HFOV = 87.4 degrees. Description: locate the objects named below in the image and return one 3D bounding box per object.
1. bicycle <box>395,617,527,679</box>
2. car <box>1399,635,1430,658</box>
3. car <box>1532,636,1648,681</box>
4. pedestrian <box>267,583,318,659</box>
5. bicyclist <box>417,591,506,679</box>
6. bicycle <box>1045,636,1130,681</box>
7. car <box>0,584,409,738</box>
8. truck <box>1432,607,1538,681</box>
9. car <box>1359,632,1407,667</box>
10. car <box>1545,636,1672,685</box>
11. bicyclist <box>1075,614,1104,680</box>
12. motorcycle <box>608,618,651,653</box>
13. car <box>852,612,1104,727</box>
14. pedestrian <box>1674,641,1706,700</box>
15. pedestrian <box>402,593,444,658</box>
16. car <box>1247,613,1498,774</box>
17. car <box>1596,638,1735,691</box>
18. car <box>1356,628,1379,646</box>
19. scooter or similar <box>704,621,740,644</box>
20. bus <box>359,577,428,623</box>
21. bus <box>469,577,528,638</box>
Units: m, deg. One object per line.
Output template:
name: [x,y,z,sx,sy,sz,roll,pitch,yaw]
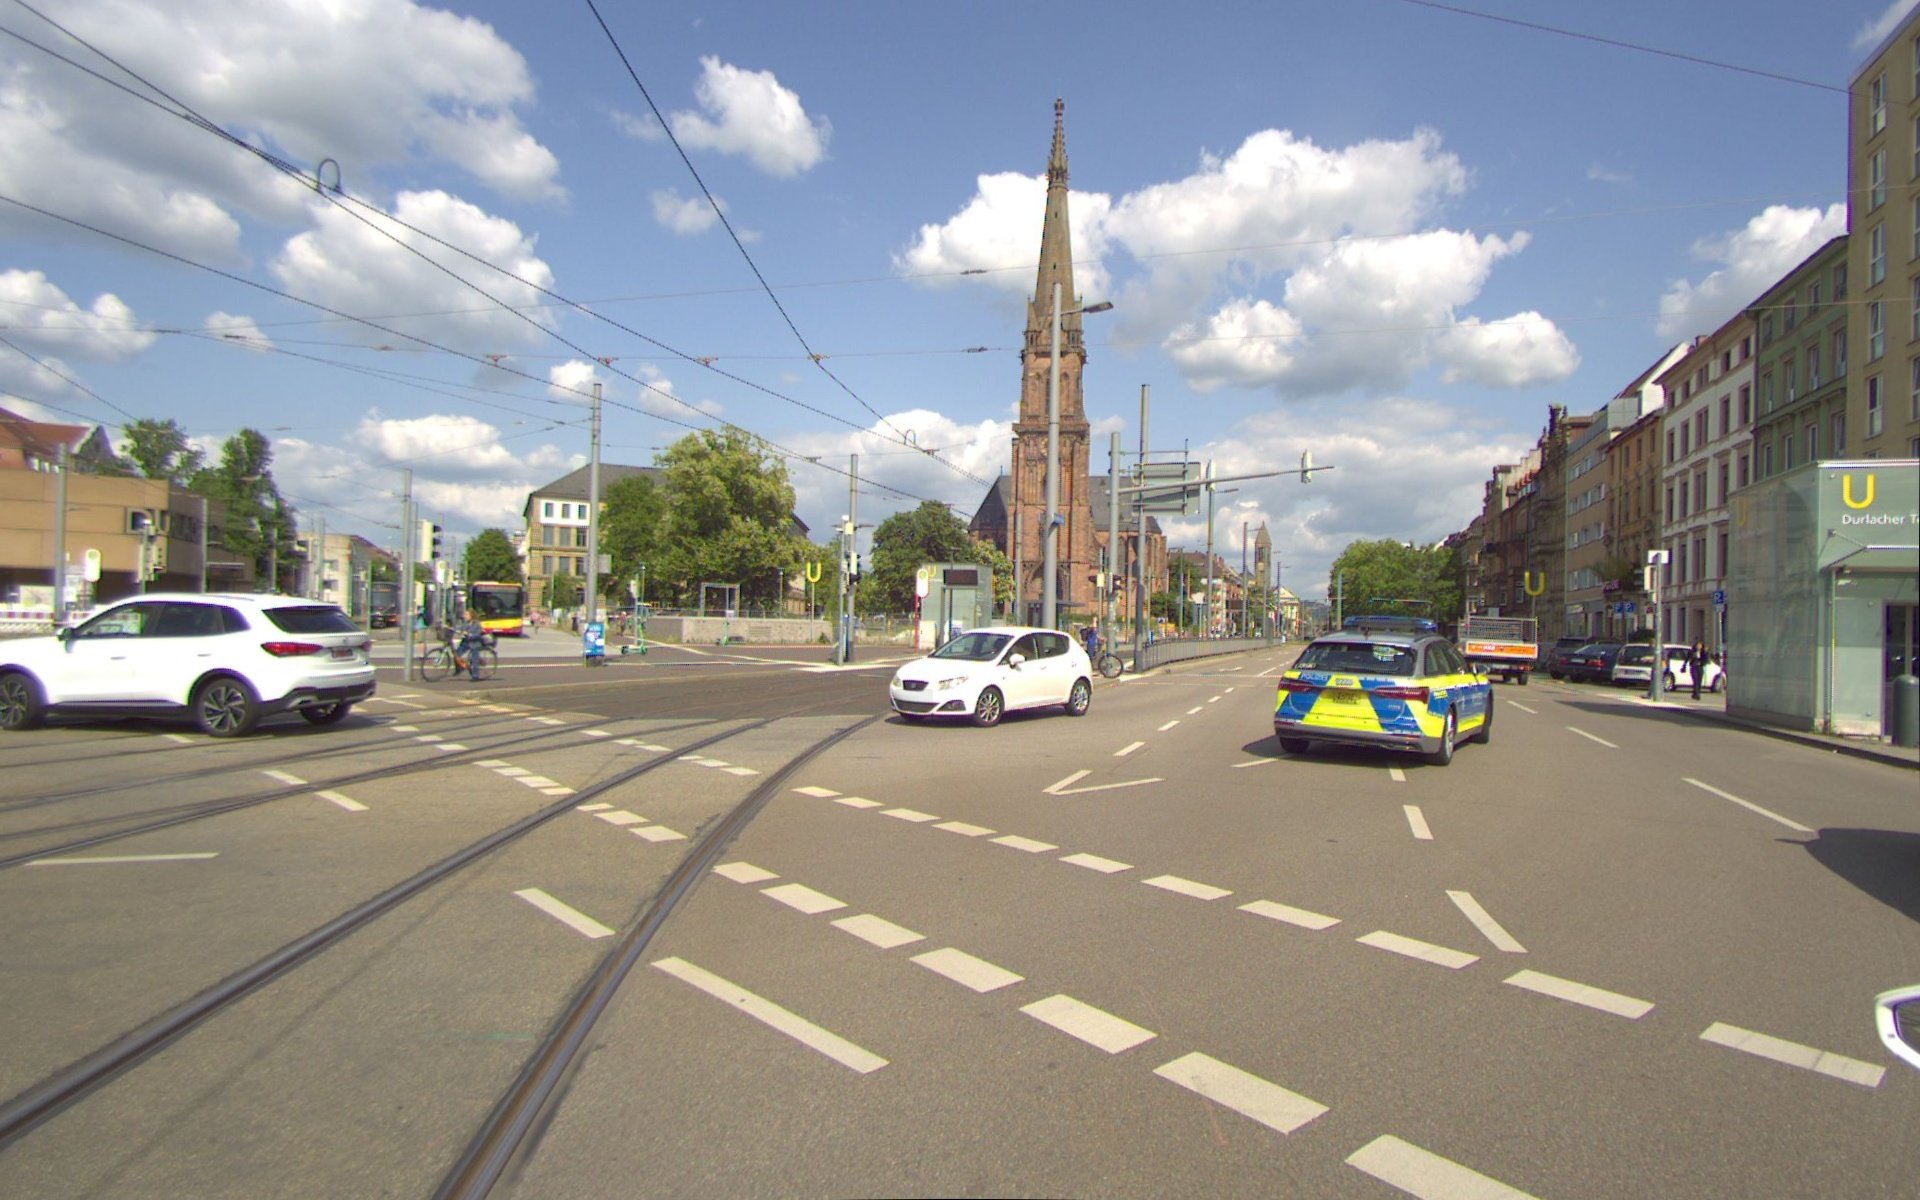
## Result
bicycle: [-10.471,1.011,21.176,0.977,1.204,2.296,1,-2,31]
car: [31.281,3.162,69.256,1.708,1.395,3.999,2,0,22]
car: [24.127,2.228,38.480,3.844,1.516,1.889,3,-1,-23]
pedestrian: [-17.452,0.534,26.281,0.810,1.928,0.767,1,1,3]
bicyclist: [-10.473,0.733,21.147,0.977,1.754,1.299,1,-1,31]
bicycle: [3.647,1.654,28.712,2.310,1.153,0.890,1,1,15]
car: [-9.532,0.714,12.459,4.203,1.661,2.043,1,-1,0]
truck: [17.451,1.425,33.704,2.300,2.184,5.852,1,-1,20]
car: [19.720,2.263,46.955,1.817,1.494,4.001,1,-1,20]
car: [22.757,2.124,35.283,3.844,1.516,1.889,3,-1,-23]
bicyclist: [3.695,1.340,28.695,0.696,1.821,0.780,1,1,15]
motorcycle: [-11.976,1.286,36.412,0.476,1.253,1.442,2,-1,35]
car: [0.411,1.029,16.073,1.969,1.548,4.077,1,-1,38]
pedestrian: [19.638,1.893,27.034,0.545,1.554,0.699,1,-2,25]
pedestrian: [-15.395,0.715,28.794,1.013,1.822,0.763,2,1,41]
car: [5.314,1.038,12.533,1.855,1.589,4.599,1,-2,36]
car: [22.942,2.105,32.695,3.843,1.516,1.890,3,-1,-22]
car: [34.751,3.179,85.727,1.708,1.395,3.999,2,0,22]
scooter or similar: [-12.053,1.635,50.835,1.622,1.120,0.848,1,1,-23]
bus: [-47.308,0.106,84.587,3.431,3.226,23.622,2,-1,-26]
bus: [-27.369,0.456,59.493,2.796,3.177,12.759,2,-1,-25]
